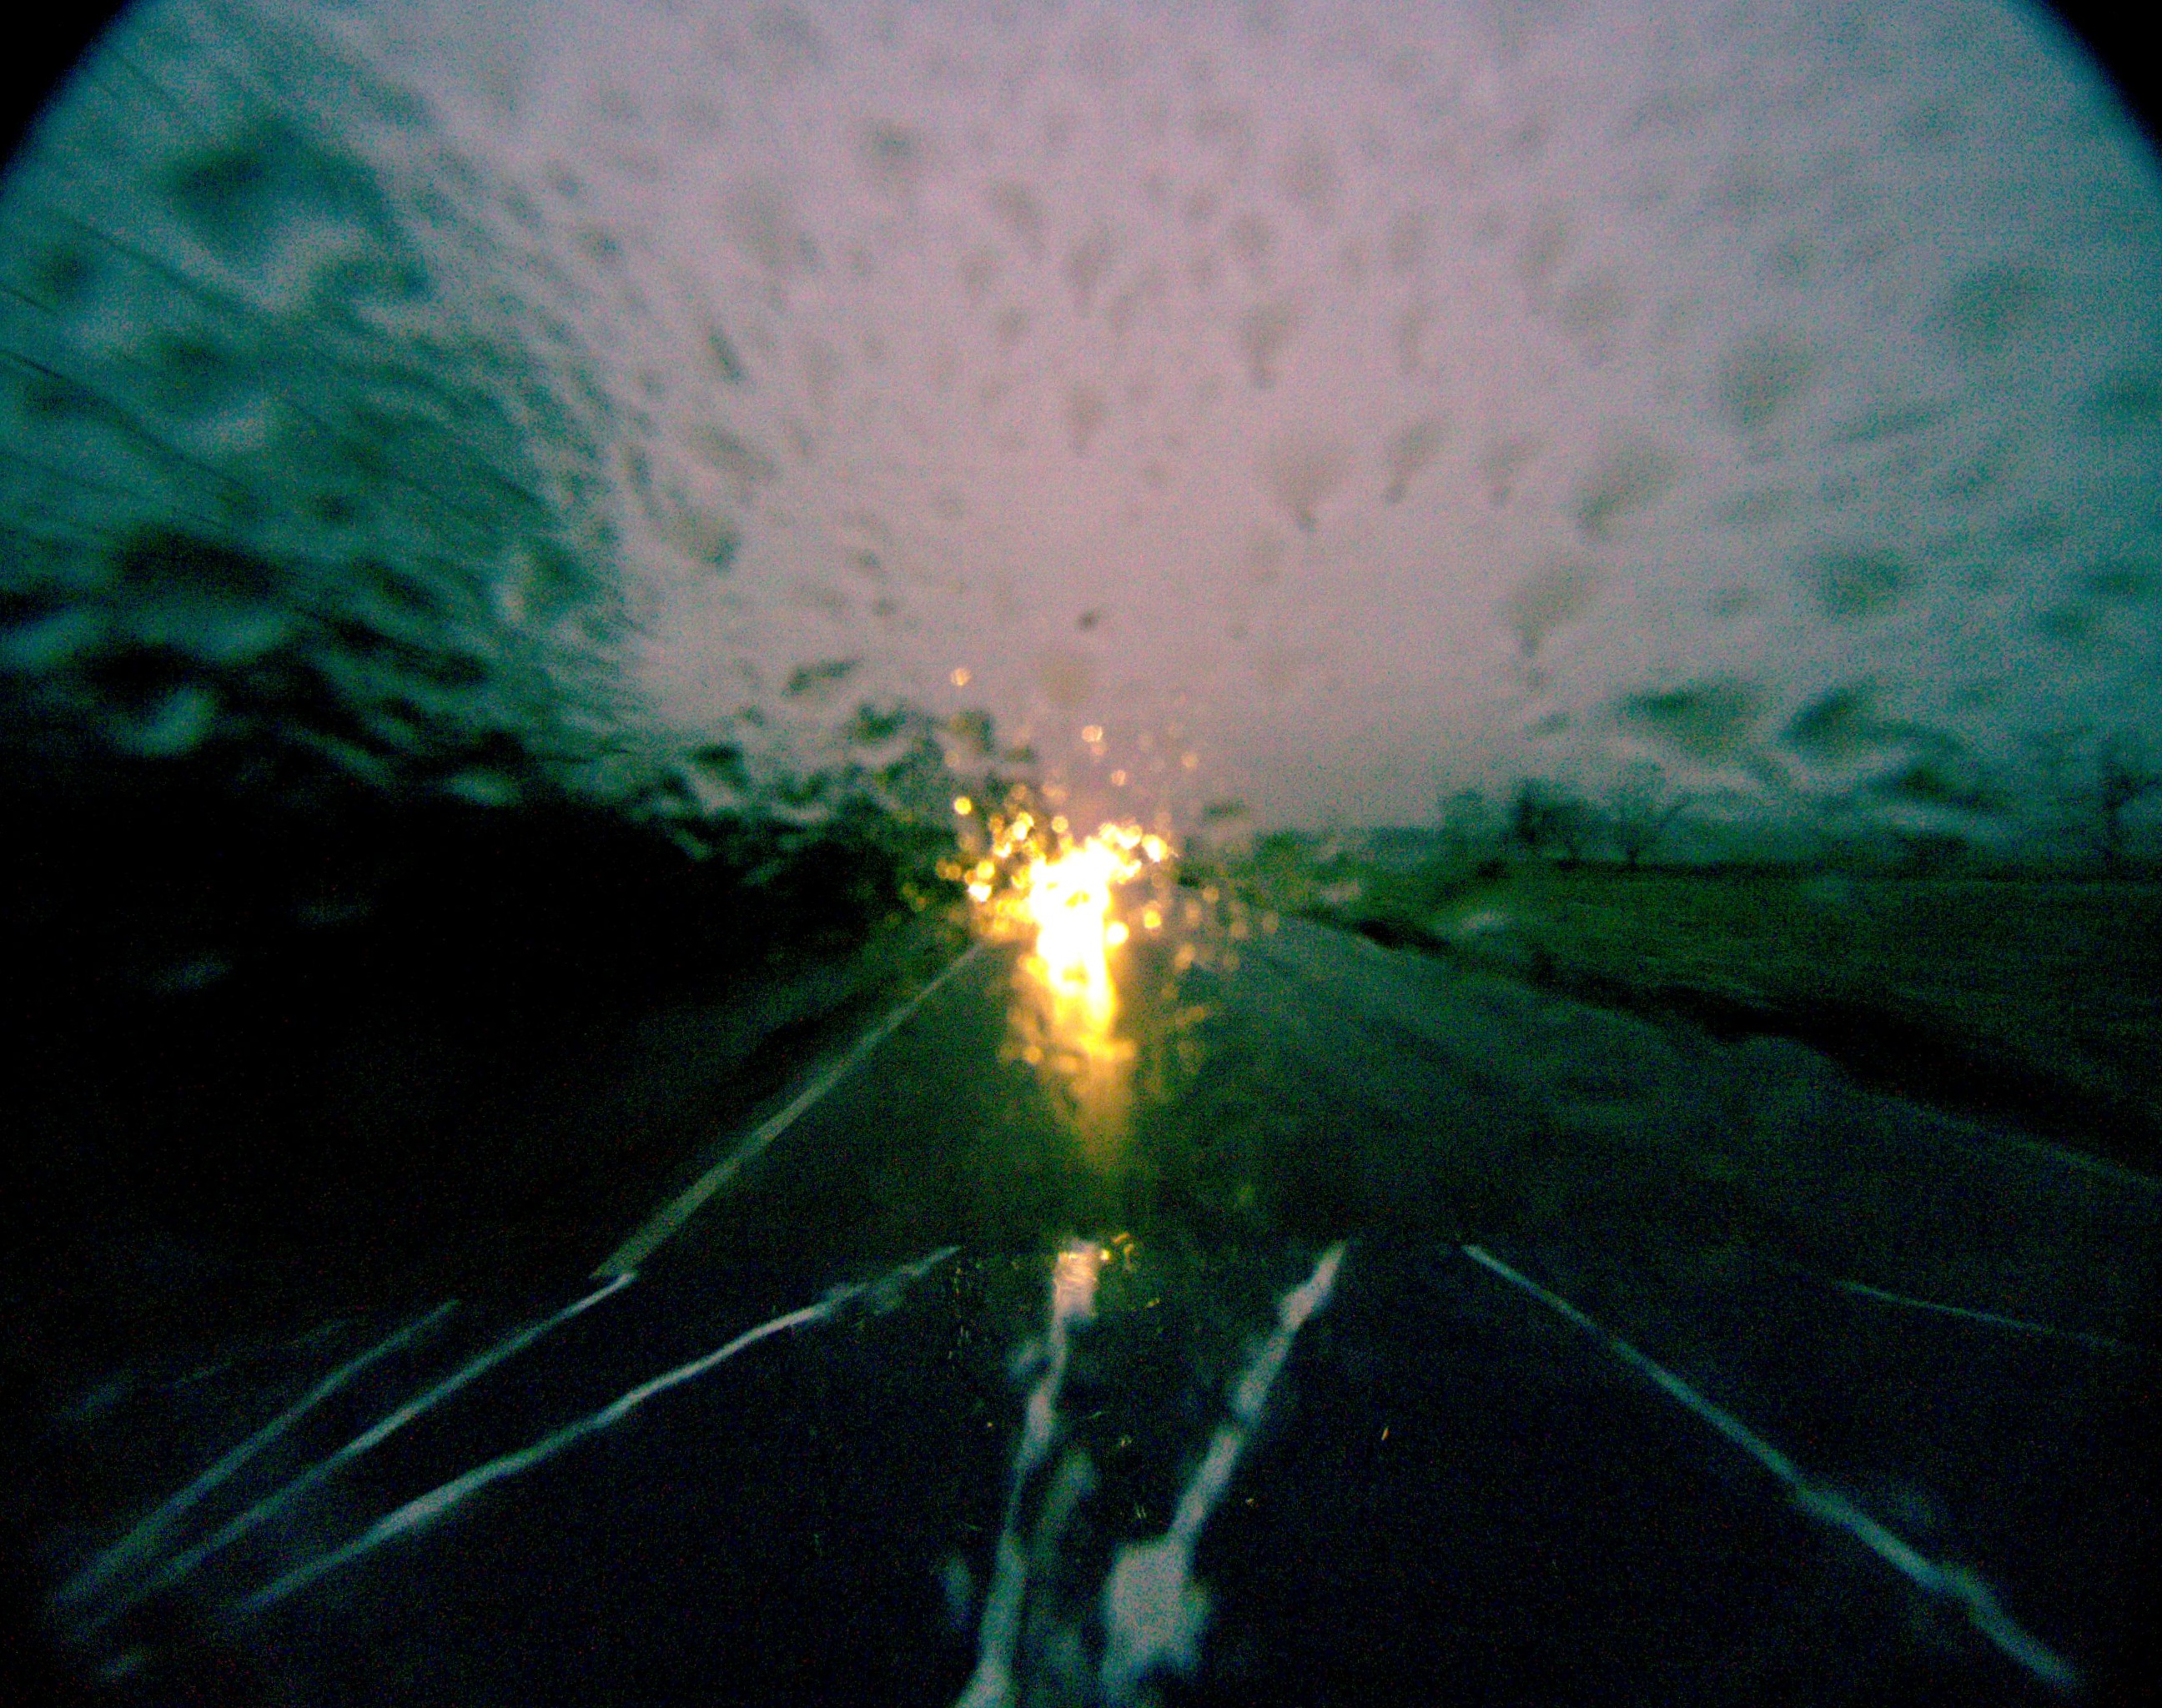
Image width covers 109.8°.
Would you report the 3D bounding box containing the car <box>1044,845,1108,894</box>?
[{"bbox_3d":[-0.170,0.621,35.286,2.705,1.974,5.803,-2,1,1],"label":"car"}]
